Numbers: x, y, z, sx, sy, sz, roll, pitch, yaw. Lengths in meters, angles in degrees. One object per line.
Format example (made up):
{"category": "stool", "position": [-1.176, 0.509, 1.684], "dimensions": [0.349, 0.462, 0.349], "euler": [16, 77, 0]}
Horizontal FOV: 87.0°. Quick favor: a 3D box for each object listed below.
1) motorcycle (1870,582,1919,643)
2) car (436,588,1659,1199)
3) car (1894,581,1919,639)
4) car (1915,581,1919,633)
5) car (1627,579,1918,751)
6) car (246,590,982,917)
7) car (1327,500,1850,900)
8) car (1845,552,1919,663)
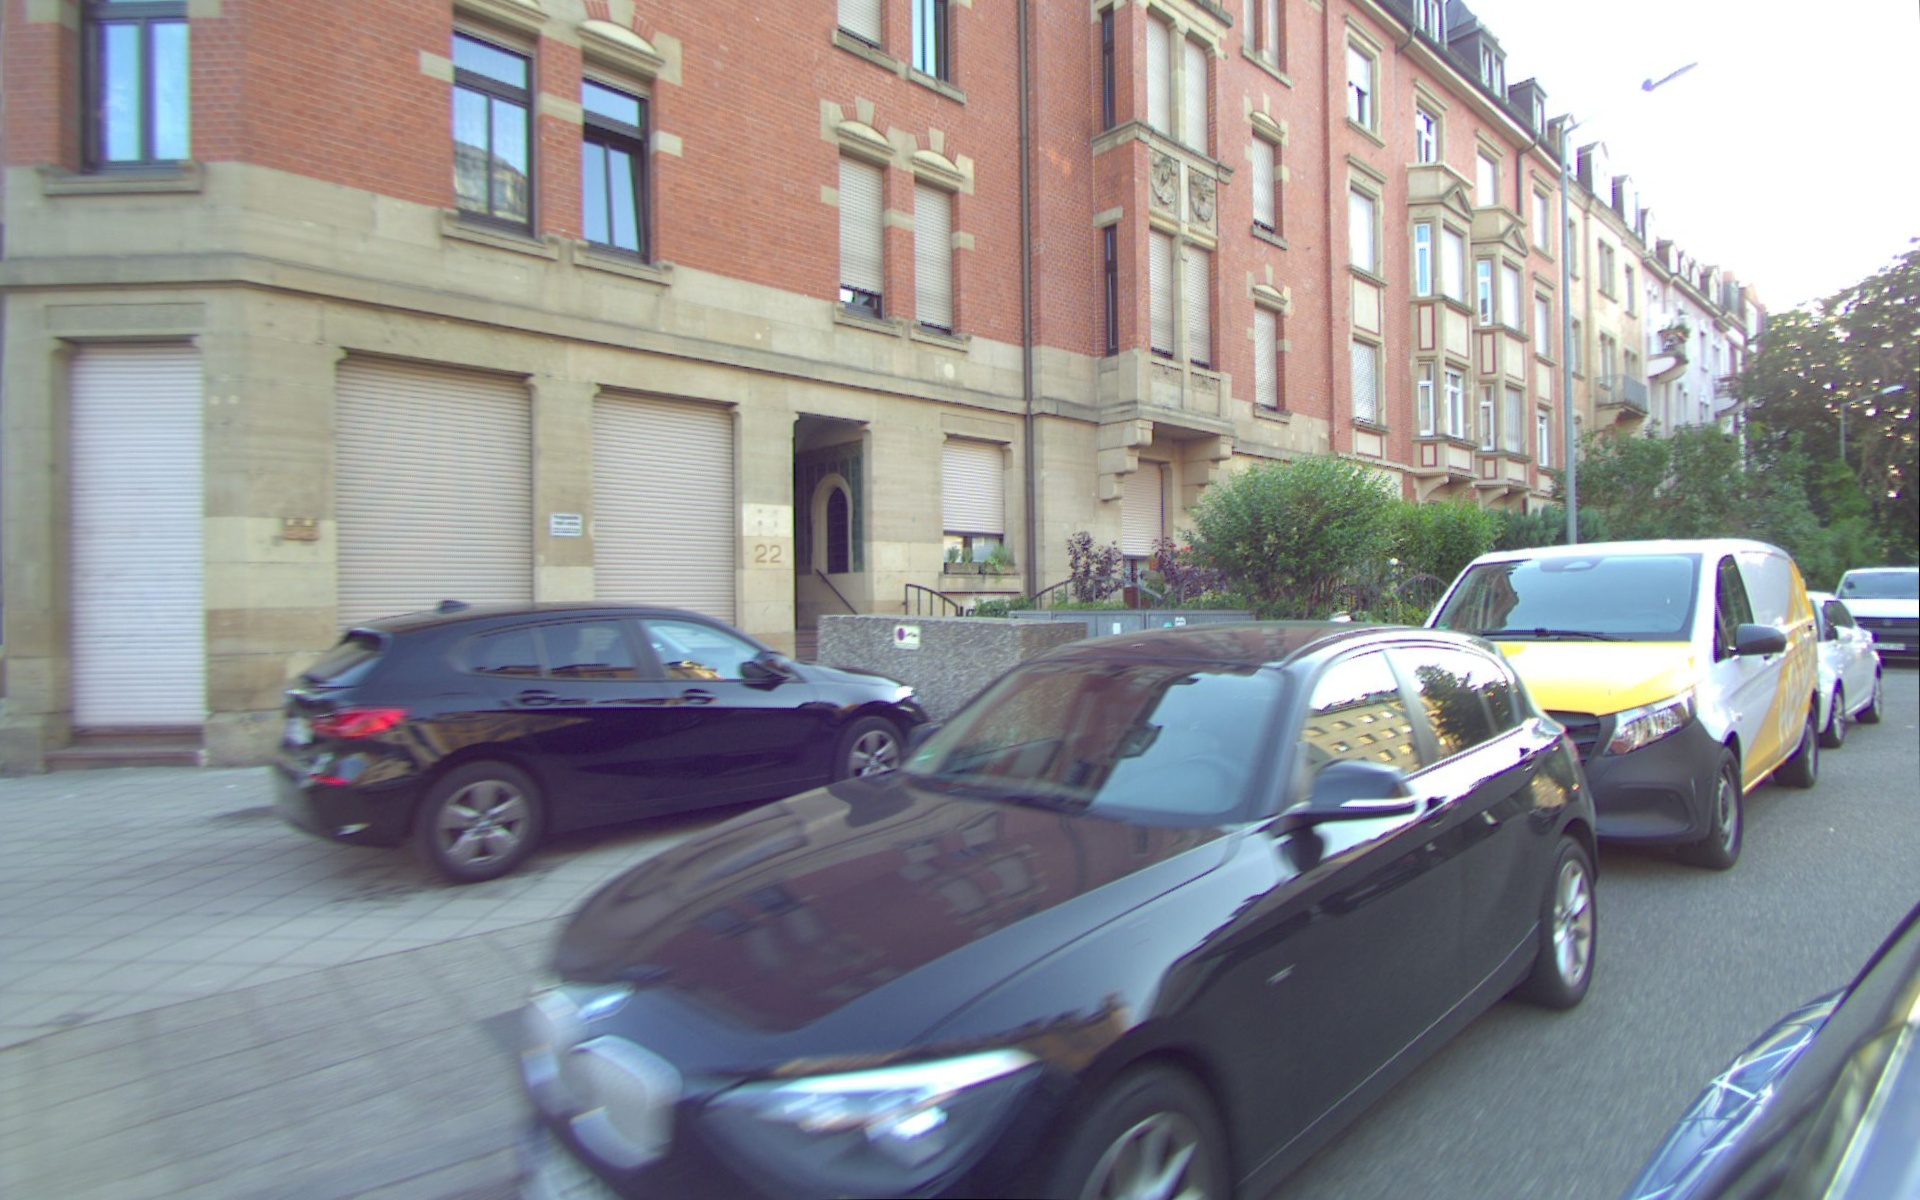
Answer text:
{"category": "motorcycle", "position": [24.696, 0.307, 25.680], "dimensions": [2.065, 1.501, 1.128], "euler": [0, 1, 15]}
{"category": "car", "position": [0.753, 0.735, 3.418], "dimensions": [4.181, 1.442, 1.723], "euler": [-1, -1, -43]}
{"category": "car", "position": [27.690, 0.226, 28.333], "dimensions": [4.249, 1.571, 1.723], "euler": [-1, -1, -40]}
{"category": "car", "position": [31.553, 0.137, 31.757], "dimensions": [4.757, 1.602, 1.759], "euler": [-1, -1, -41]}
{"category": "car", "position": [8.754, 0.567, 10.806], "dimensions": [3.793, 1.496, 1.677], "euler": [-1, -1, -40]}
{"category": "car", "position": [-1.997, 0.682, 6.766], "dimensions": [4.350, 1.442, 1.728], "euler": [-1, 2, -44]}
{"category": "car", "position": [4.751, 0.455, 7.242], "dimensions": [4.997, 1.908, 1.895], "euler": [-1, -1, -43]}
{"category": "car", "position": [19.826, 0.095, 20.881], "dimensions": [5.453, 2.064, 1.863], "euler": [-1, 2, -44]}
